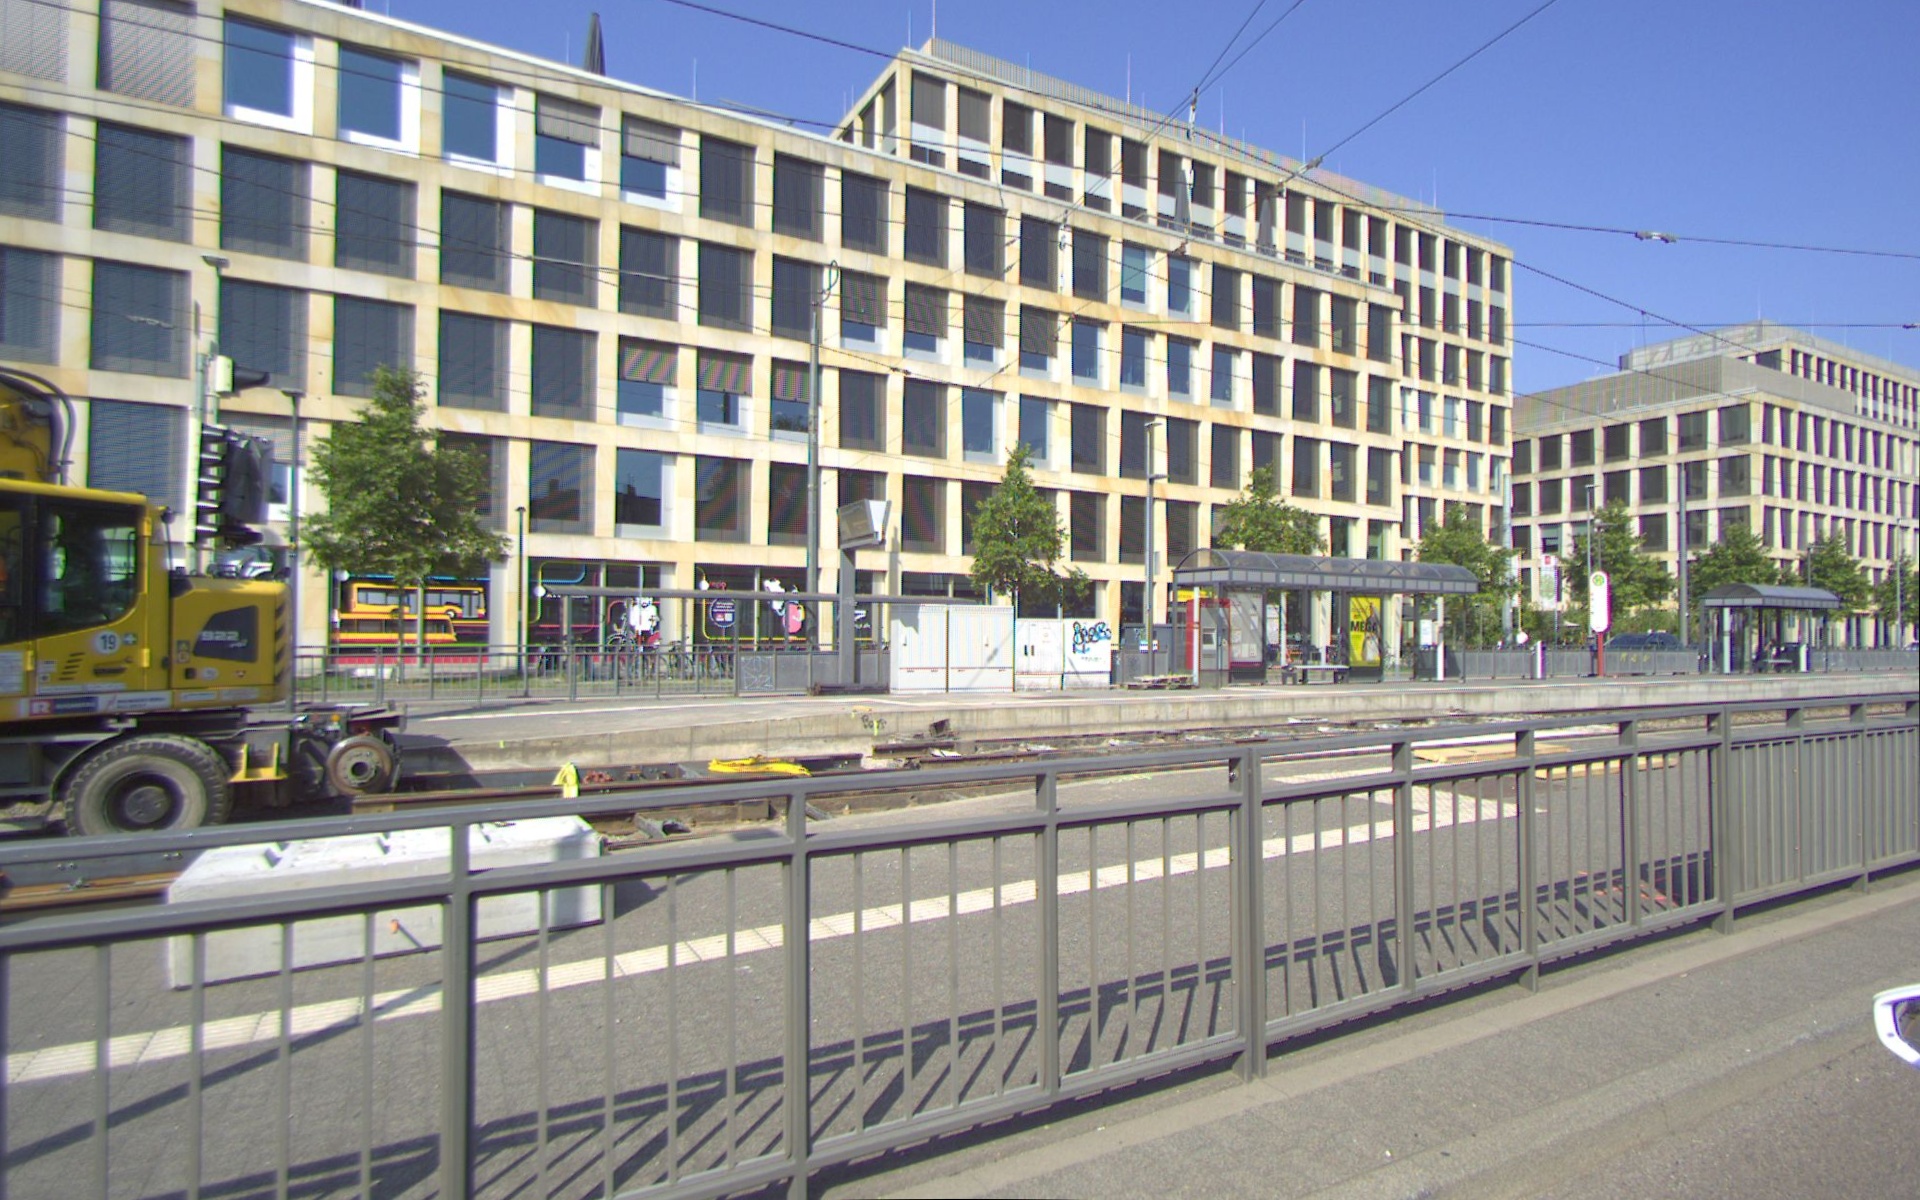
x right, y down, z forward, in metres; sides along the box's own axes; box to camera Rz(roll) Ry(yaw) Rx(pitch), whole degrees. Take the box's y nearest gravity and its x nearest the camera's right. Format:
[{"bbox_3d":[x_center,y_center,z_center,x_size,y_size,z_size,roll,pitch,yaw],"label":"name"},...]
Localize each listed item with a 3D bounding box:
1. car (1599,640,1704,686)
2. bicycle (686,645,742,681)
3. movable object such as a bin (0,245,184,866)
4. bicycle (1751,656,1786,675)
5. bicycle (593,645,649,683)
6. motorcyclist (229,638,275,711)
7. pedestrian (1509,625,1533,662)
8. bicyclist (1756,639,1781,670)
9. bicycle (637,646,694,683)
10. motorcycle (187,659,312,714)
[{"bbox_3d":[25.051,2.244,36.373,3.713,1.591,1.655,2,-2,-29],"label":"car"},{"bbox_3d":[-7.237,1.837,29.455,0.934,0.980,2.418,1,-2,-30],"label":"bicycle"},{"bbox_3d":[-9.221,-0.327,8.053,4.157,4.614,2.976,1,-2,-27],"label":"movable object such as a bin"},{"bbox_3d":[37.789,3.053,46.950,1.875,0.832,0.626,3,-6,-30],"label":"bicycle"},{"bbox_3d":[-9.529,1.758,28.144,1.009,0.980,2.418,1,-2,-30],"label":"bicycle"},{"bbox_3d":[-11.900,1.259,16.891,0.509,1.194,0.428,2,-5,-25],"label":"motorcyclist"},{"bbox_3d":[30.220,2.354,54.143,0.830,1.941,0.788,4,-6,-35],"label":"pedestrian"},{"bbox_3d":[37.831,2.562,47.014,0.775,1.420,0.626,3,-6,-30],"label":"bicyclist"},{"bbox_3d":[-8.442,1.814,28.701,1.009,0.980,2.418,1,-2,-30],"label":"bicycle"},{"bbox_3d":[-11.924,1.457,16.902,1.612,0.889,0.428,3,-5,-25],"label":"motorcycle"}]
